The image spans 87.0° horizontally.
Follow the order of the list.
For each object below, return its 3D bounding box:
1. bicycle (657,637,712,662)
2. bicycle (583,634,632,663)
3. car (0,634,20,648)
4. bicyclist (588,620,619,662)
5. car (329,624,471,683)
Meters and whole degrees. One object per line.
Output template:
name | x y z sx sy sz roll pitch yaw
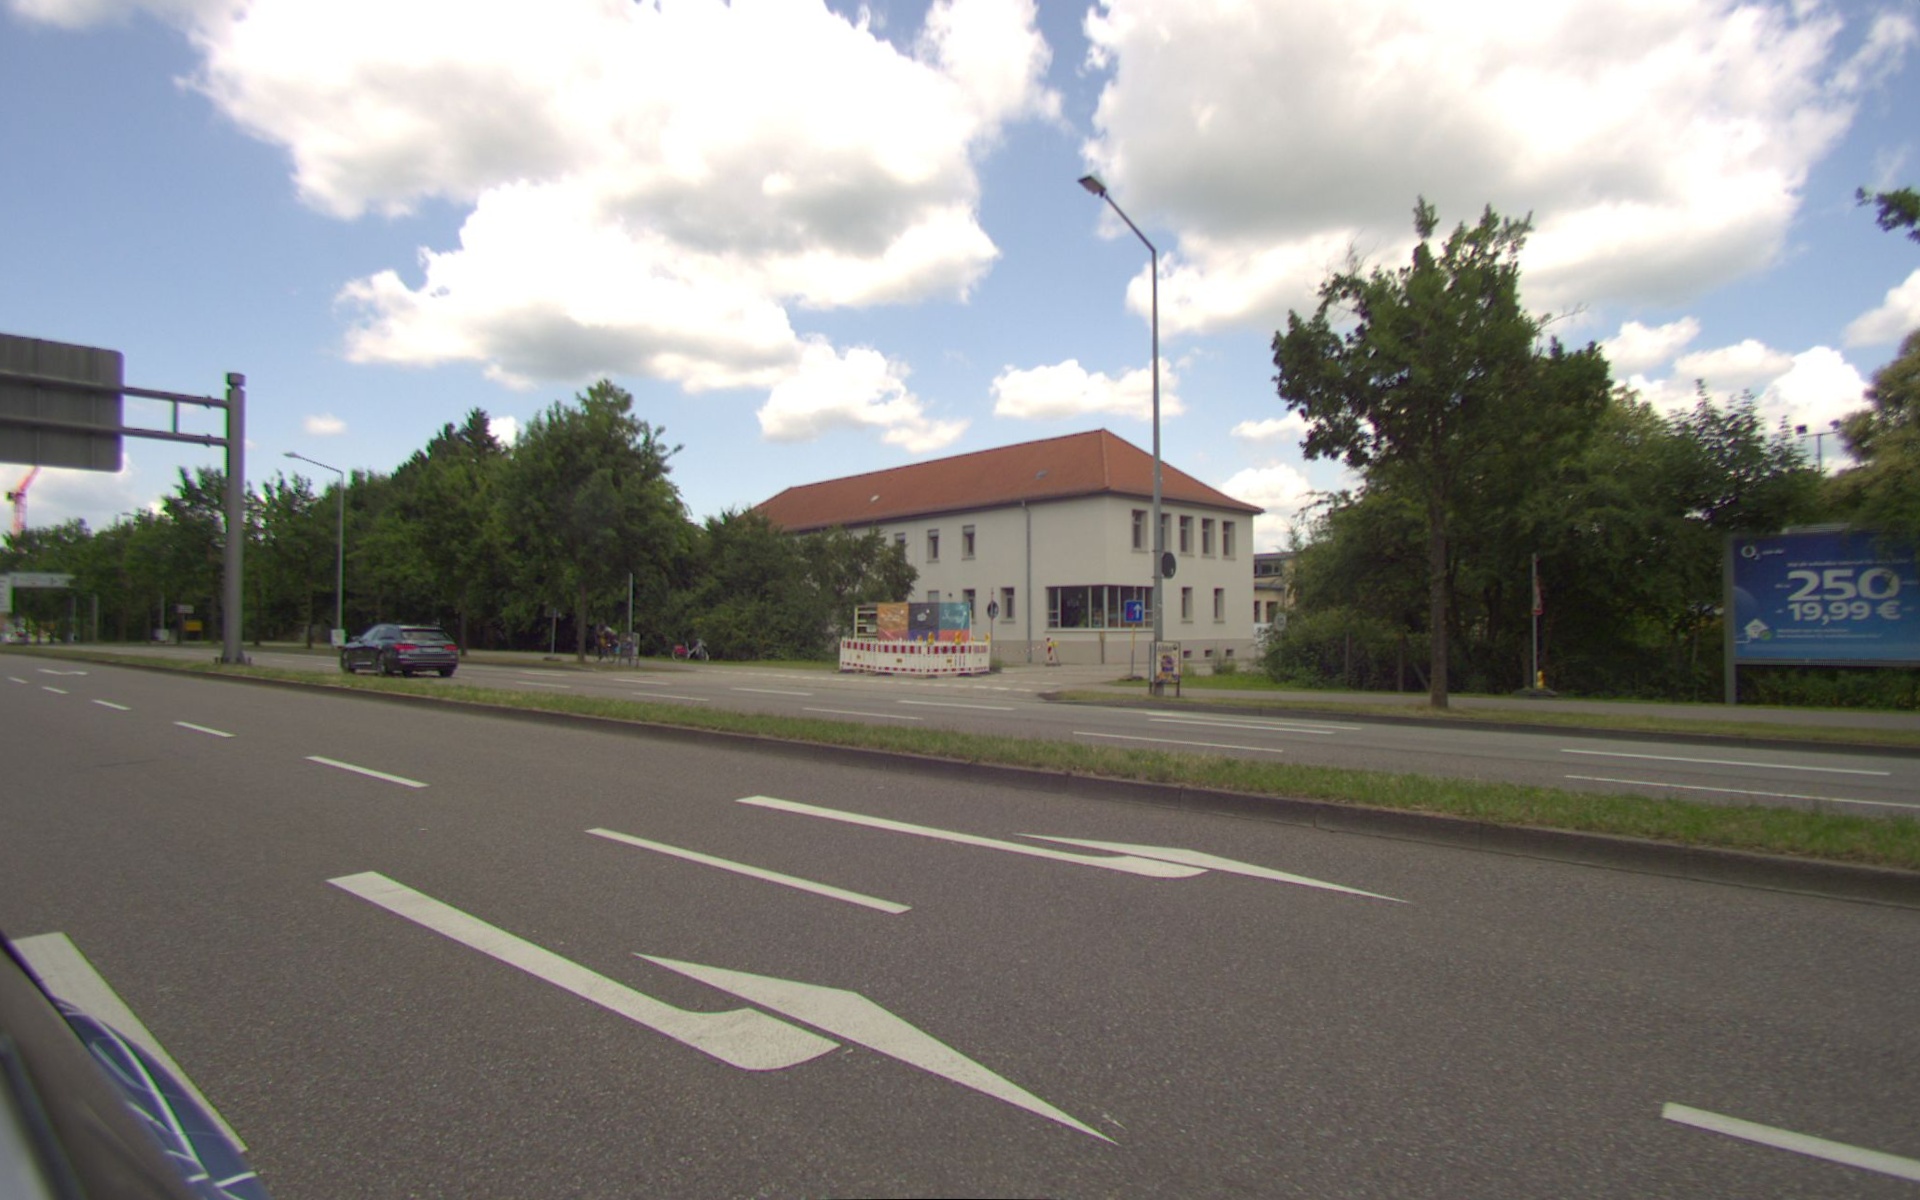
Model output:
bicycle | -11.683 2.117 42.948 2.117 1.023 0.665 1 -2 -4
bicycle | -14.288 1.955 40.946 2.254 1.170 0.743 -2 -3 37
car | -106.139 4.597 112.767 3.696 1.507 1.691 -2 -3 42
bicyclist | -14.479 1.668 41.111 0.979 1.671 0.731 -2 -3 36
car | -15.993 1.465 28.777 4.906 1.528 1.939 -2 -2 41
